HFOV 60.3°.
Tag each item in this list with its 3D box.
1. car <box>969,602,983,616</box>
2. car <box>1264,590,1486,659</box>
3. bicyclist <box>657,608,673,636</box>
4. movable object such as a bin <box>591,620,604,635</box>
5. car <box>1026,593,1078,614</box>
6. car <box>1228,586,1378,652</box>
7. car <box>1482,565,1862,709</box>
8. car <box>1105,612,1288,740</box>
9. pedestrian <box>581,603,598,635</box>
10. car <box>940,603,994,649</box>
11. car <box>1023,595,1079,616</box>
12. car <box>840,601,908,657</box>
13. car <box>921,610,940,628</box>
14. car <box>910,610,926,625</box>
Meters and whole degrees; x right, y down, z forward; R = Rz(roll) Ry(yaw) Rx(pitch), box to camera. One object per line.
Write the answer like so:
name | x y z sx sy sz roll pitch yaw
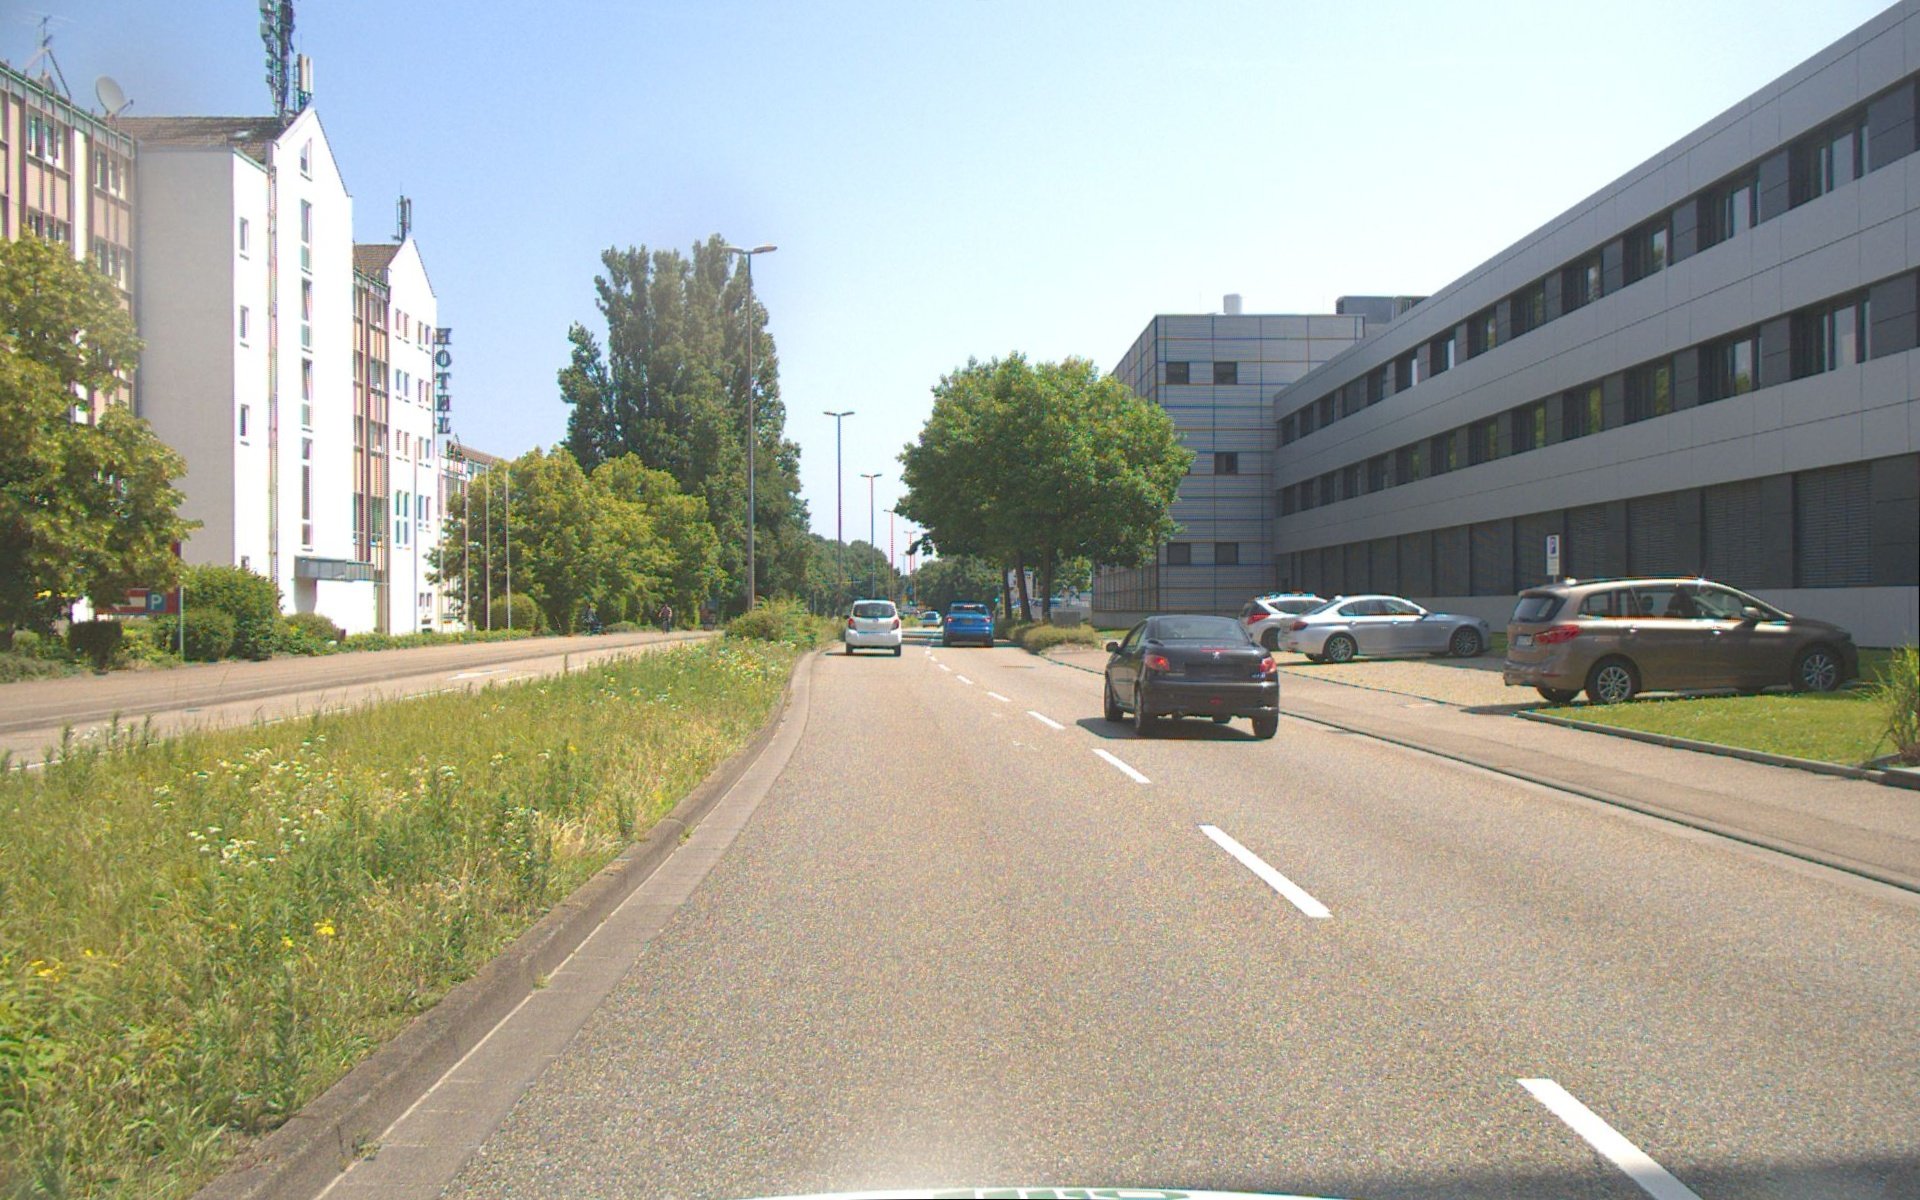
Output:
car | 2.312 1.348 246.321 1.735 2.049 3.987 -1 0 -4
car | 9.439 0.543 37.815 4.523 1.414 1.998 -1 0 -5
bicyclist | -16.529 1.249 92.687 0.703 1.543 1.026 -1 -1 -4
movable object such as a bin | -17.653 1.356 80.496 0.419 0.718 0.652 -1 -1 8
car | 7.263 0.273 131.127 3.908 1.647 1.998 -1 0 -4
car | 9.614 0.526 46.497 3.738 1.619 1.730 -3 0 -5
car | 9.368 0.462 21.973 4.176 1.718 1.998 -1 0 -5
car | 2.775 0.857 20.123 1.594 1.388 3.604 0 0 -2
pedestrian | -18.097 0.923 80.787 0.620 1.572 0.727 -1 -1 -1
car | 0.233 0.938 60.448 1.791 1.608 3.603 -1 0 -3
car | 7.422 0.450 134.961 4.408 1.610 1.999 -1 -1 -2
car | -2.443 0.800 47.936 1.712 1.546 3.746 1 0 1
car | -2.932 1.893 163.876 1.783 1.691 3.999 -1 0 -2
car | -5.291 2.165 206.767 1.784 1.691 3.996 -1 0 -5
